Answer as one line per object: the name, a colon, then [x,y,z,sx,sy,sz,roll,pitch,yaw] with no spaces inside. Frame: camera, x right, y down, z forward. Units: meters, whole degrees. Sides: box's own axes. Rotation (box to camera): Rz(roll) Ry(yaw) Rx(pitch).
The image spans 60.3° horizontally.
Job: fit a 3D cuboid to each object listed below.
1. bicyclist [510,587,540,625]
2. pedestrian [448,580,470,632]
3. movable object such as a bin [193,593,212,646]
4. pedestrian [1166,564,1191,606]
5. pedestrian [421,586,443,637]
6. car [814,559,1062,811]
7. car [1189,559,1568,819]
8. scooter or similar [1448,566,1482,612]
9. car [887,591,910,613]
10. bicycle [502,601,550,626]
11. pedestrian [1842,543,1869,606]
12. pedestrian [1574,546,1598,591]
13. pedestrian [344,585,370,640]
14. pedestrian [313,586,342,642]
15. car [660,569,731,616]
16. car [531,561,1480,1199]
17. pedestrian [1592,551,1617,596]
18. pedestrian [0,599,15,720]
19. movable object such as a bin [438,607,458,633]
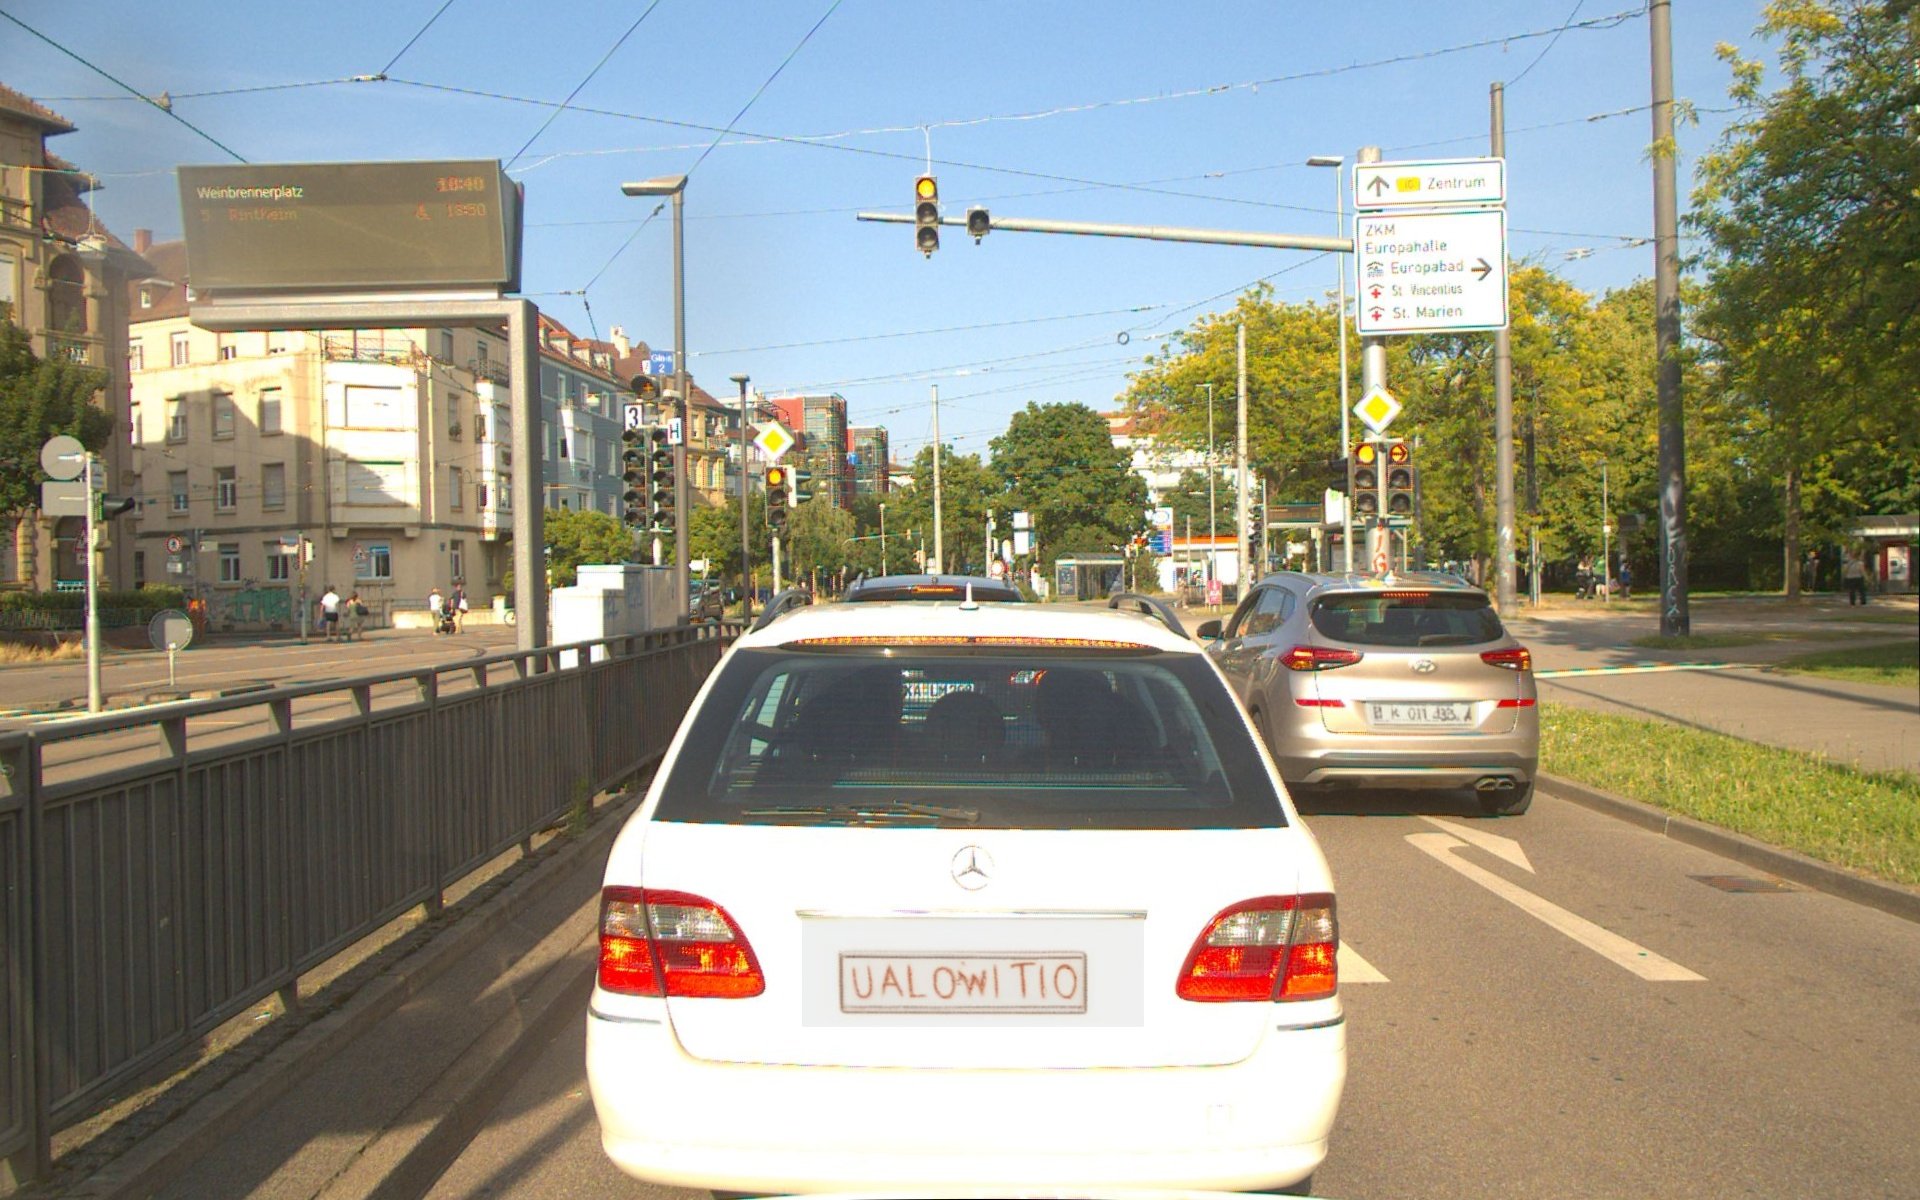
bicyclist: [-18.783,0.268,71.472,0.648,1.597,1.039,-1,0,37]
pedestrian: [-19.036,0.221,62.828,0.573,1.913,0.626,-1,4,-3]
movable object such as a bin: [-25.458,0.638,55.584,0.261,1.739,2.357,-2,1,-31]
pedestrian: [10.957,-0.751,82.960,0.976,2.049,0.827,-1,0,27]
pedestrian: [-19.945,0.430,62.465,0.572,1.913,0.626,-1,0,-2]
car: [-0.169,0.539,12.640,1.608,1.628,3.814,0,0,-1]
car: [2.893,0.545,12.286,1.798,1.628,3.814,0,0,-1]
scooter or similar: [13.933,-0.301,45.664,0.345,1.253,1.131,-1,0,-15]
car: [-4.914,0.152,133.342,1.642,1.552,4.125,-1,2,0]
bicycle: [-18.761,0.594,71.503,0.728,1.024,1.988,-1,0,37]
pedestrian: [27.016,-0.770,49.902,0.458,1.900,0.597,1,-1,-41]
pedestrian: [24.245,-1.217,64.107,0.628,1.694,0.690,-1,0,-1]
pedestrian: [-20.875,0.436,57.264,0.661,1.880,0.649,-1,0,-3]
pedestrian: [-21.936,0.484,57.392,0.644,1.913,0.627,-1,0,14]
car: [-12.105,-0.360,76.001,2.100,2.049,5.389,-1,0,3]
car: [0.064,0.678,5.043,1.798,1.527,3.814,0,0,-1]
pedestrian: [24.517,-1.018,62.937,0.628,1.694,0.690,-1,0,-1]
pedestrian: [-13.100,0.799,22.050,0.578,1.617,0.715,-1,0,-5]
movable object such as a bin: [-19.667,0.750,63.523,0.571,0.963,0.663,-1,0,-2]
